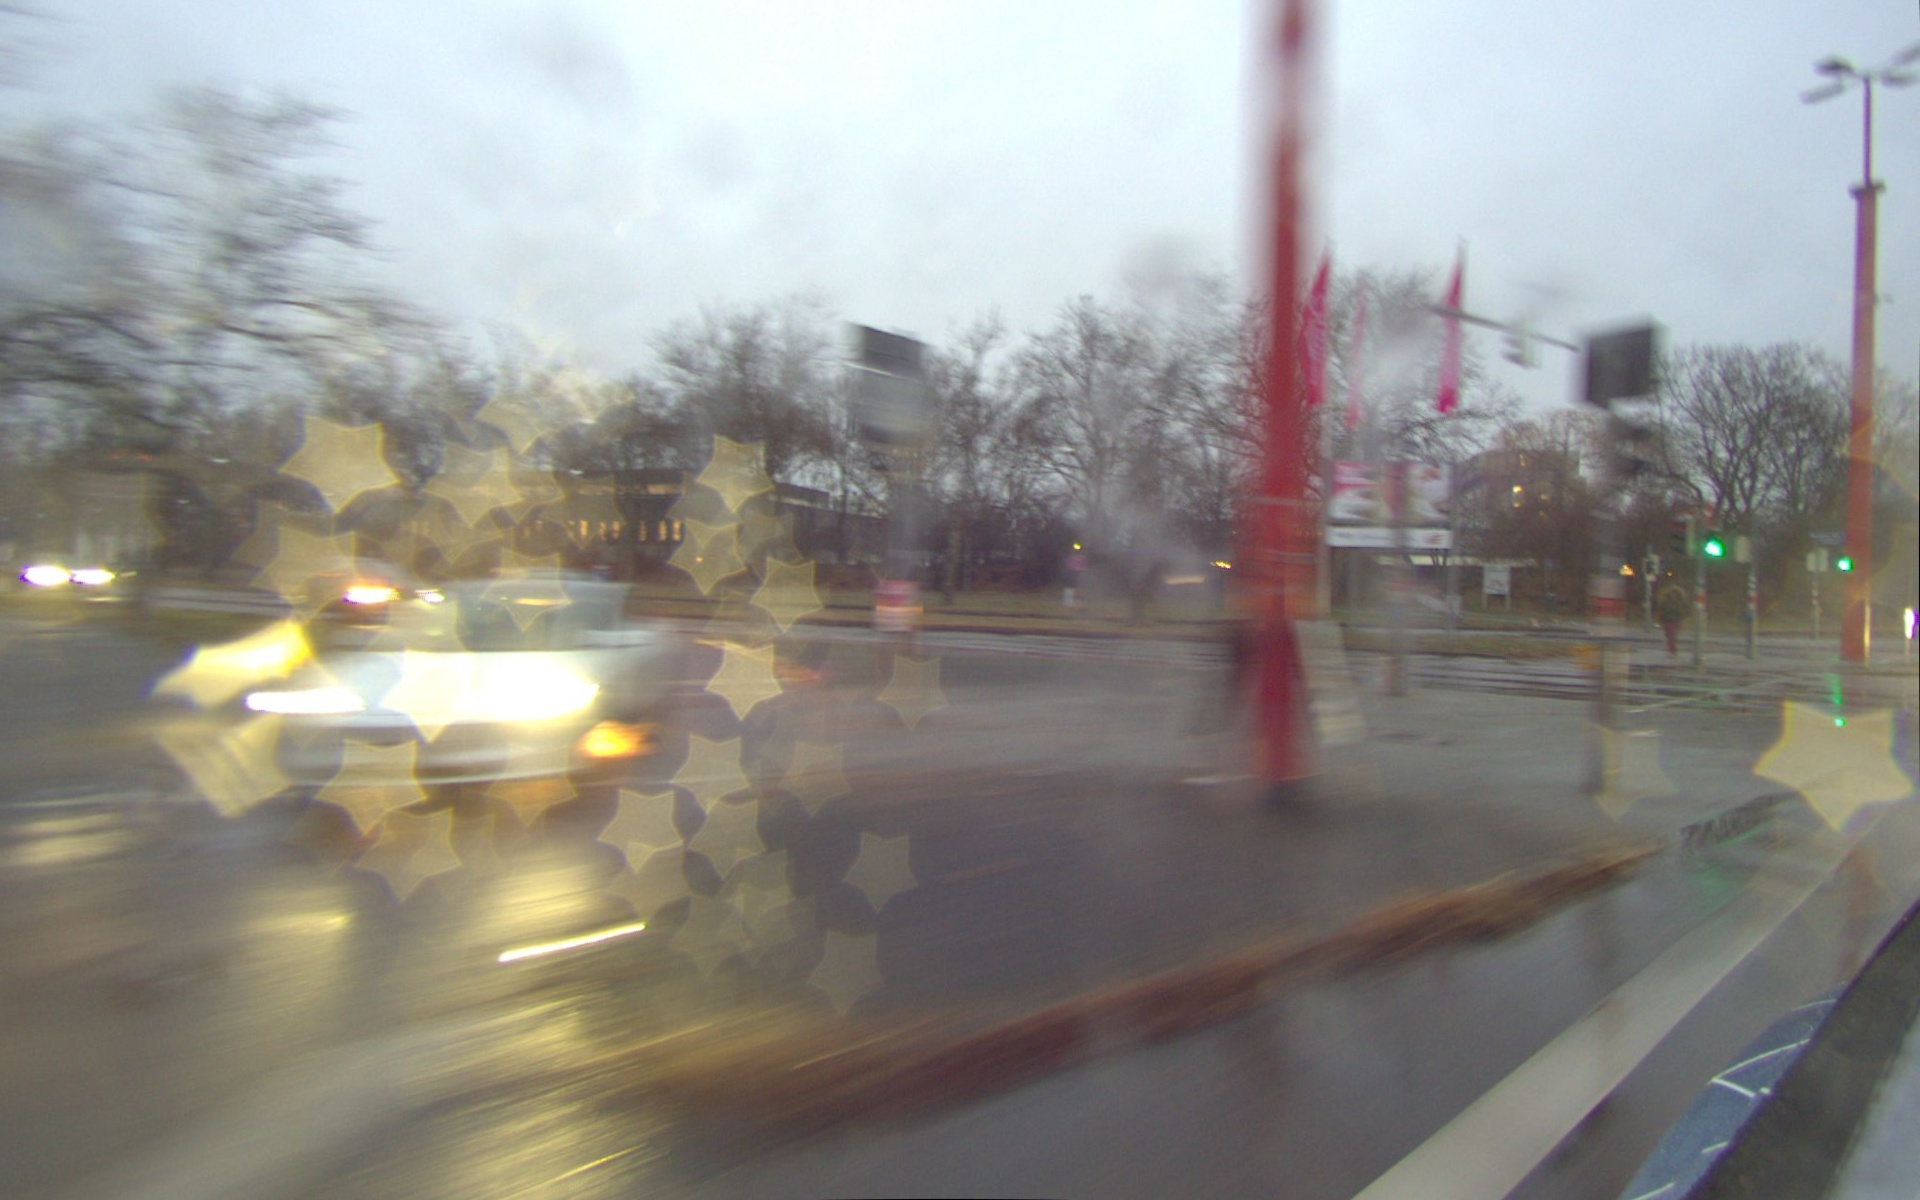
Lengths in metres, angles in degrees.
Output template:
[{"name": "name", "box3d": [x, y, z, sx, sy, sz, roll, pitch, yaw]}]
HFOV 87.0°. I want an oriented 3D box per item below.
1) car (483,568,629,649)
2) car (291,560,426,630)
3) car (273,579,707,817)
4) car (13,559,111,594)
[{"name": "car", "box3d": [-7.637, 0.082, 18.907, 1.606, 1.326, 4.000, 0, 2, -36]}, {"name": "car", "box3d": [-15.405, -0.177, 25.863, 3.867, 1.655, 1.636, 2, 2, 37]}, {"name": "car", "box3d": [-3.423, 0.543, 8.491, 1.845, 1.393, 4.761, 0, 1, -6]}, {"name": "car", "box3d": [-34.635, -0.933, 39.017, 3.974, 1.258, 1.975, 2, 2, 35]}]
